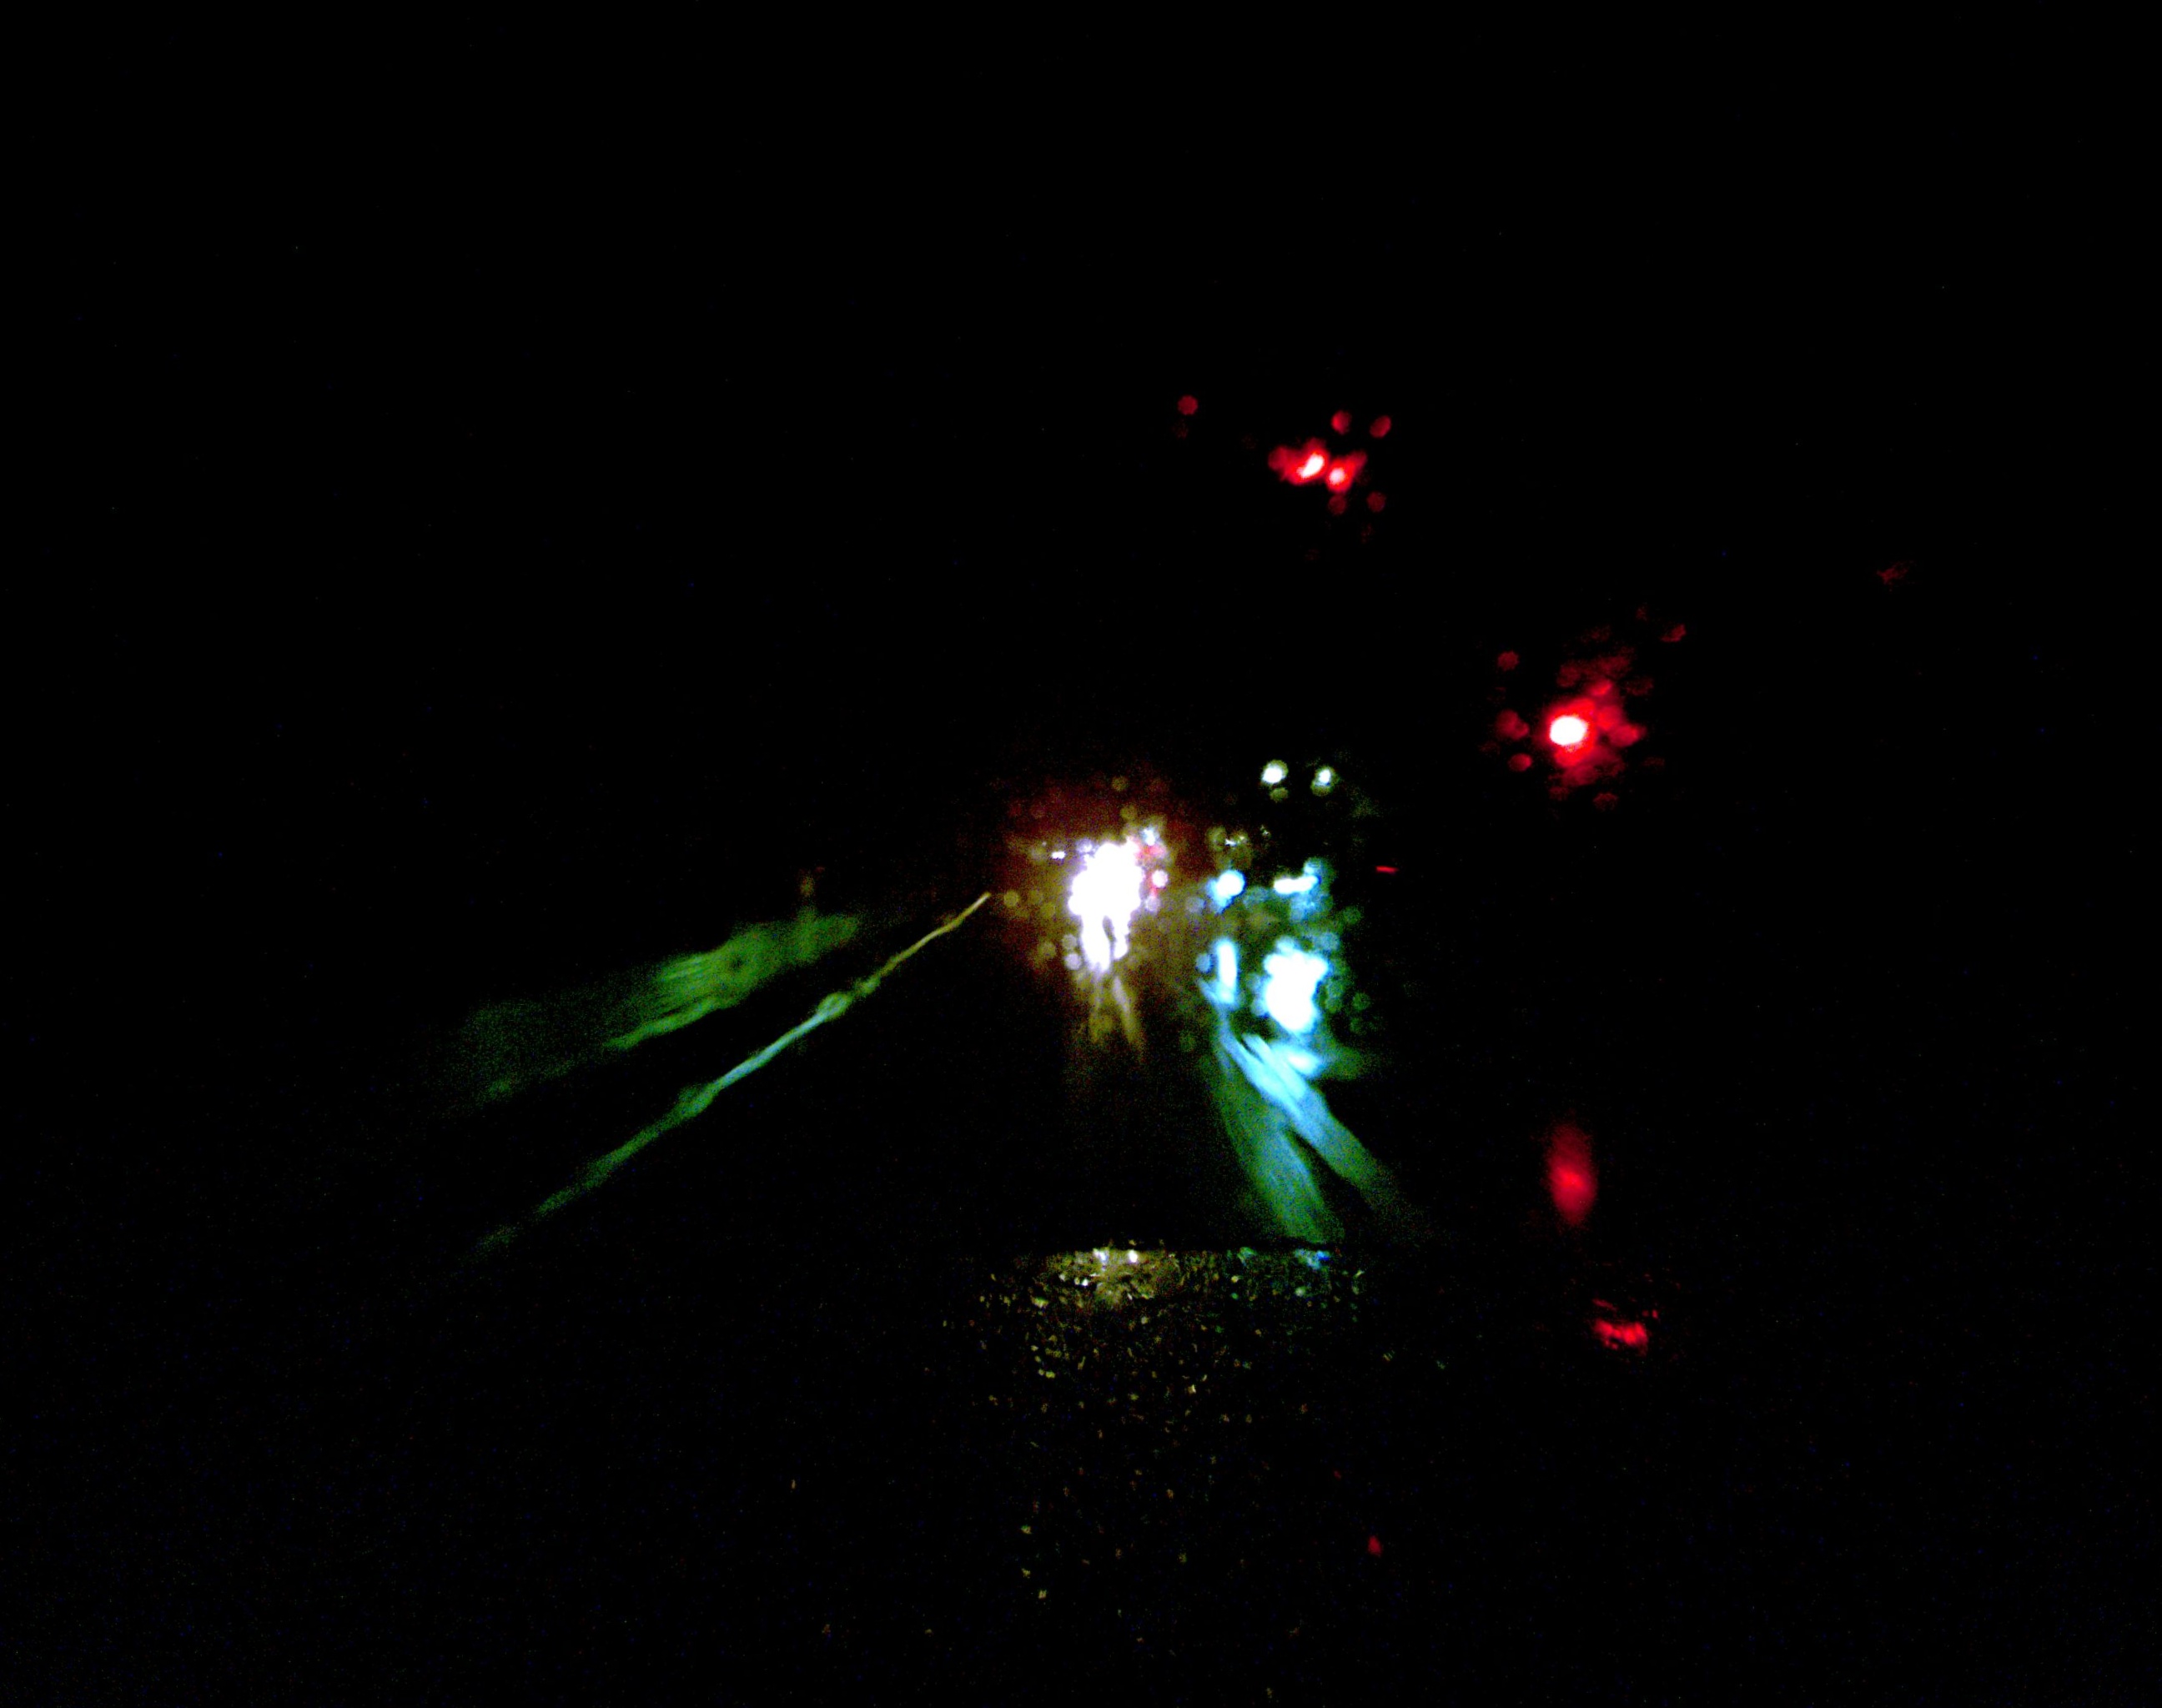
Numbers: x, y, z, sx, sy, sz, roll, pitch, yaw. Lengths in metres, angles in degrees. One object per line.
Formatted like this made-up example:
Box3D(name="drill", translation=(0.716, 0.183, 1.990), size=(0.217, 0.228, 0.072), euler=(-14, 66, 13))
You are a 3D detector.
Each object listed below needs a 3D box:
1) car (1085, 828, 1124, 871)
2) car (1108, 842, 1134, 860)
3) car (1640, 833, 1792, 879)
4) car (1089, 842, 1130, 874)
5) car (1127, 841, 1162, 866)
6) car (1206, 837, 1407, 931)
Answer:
Box3D(name="car", translation=(1.390, -0.225, 47.188), size=(2.173, 2.427, 4.861), euler=(-2, -1, 0))
Box3D(name="car", translation=(3.542, -0.276, 68.293), size=(1.915, 1.502, 4.239), euler=(-1, 1, -2))
Box3D(name="car", translation=(23.558, -0.001, 28.458), size=(1.938, 1.577, 4.480), euler=(0, 2, 0))
Box3D(name="car", translation=(1.470, 0.247, 41.162), size=(1.979, 1.507, 4.207), euler=(-2, -2, -1))
Box3D(name="car", translation=(4.389, -0.073, 53.232), size=(2.063, 1.668, 4.138), euler=(-1, 1, -1))
Box3D(name="car", translation=(4.723, 0.539, 15.602), size=(4.348, 1.678, 1.890), euler=(-1, -1, -41))
